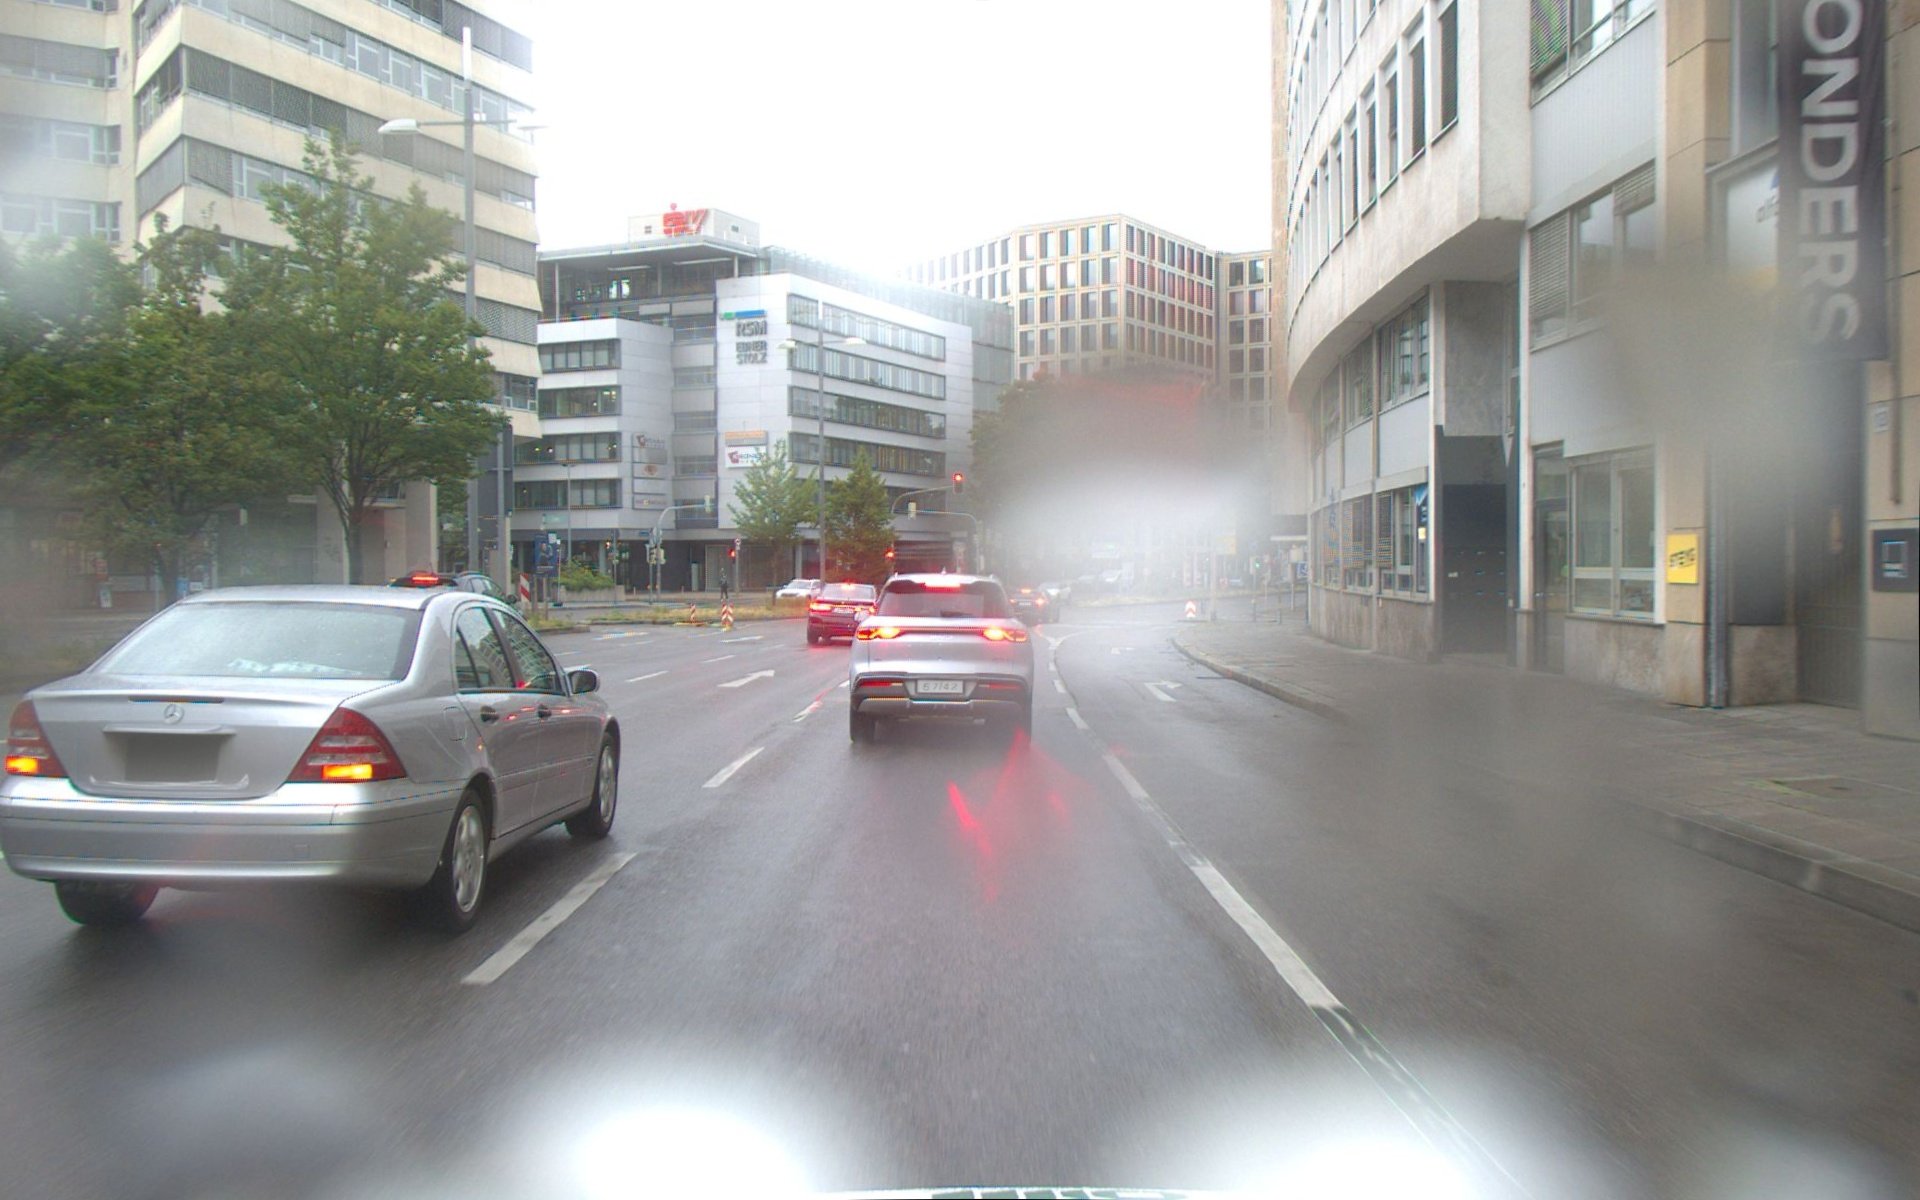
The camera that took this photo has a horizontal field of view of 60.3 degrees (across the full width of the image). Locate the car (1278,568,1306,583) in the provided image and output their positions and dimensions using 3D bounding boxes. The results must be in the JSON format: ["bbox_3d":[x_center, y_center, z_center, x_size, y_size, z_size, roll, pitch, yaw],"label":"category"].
[{"bbox_3d":[39.425,-2.910,196.124,1.957,1.735,4.300,2,3,30],"label":"car"}]

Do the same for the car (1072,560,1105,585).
[{"bbox_3d":[11.640,-2.485,149.871,1.702,2.199,4.493,2,1,21],"label":"car"}]

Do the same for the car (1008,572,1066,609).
[{"bbox_3d":[3.448,-0.426,73.596,1.913,1.556,4.004,1,1,12],"label":"car"}]

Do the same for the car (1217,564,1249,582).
[{"bbox_3d":[29.407,-2.905,177.936,1.957,1.735,4.300,2,3,30],"label":"car"}]

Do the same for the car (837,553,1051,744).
[{"bbox_3d":[-0.138,0.411,17.415,1.952,1.739,4.483,0,1,0],"label":"car"}]

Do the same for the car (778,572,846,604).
[{"bbox_3d":[-8.337,-0.663,93.566,1.703,1.758,4.489,2,1,26],"label":"car"}]

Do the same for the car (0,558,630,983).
[{"bbox_3d":[-2.859,0.579,8.016,1.647,1.512,4.197,0,1,0],"label":"car"}]

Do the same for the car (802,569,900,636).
[{"bbox_3d":[-2.668,0.036,41.302,1.914,1.556,4.002,1,1,4],"label":"car"}]

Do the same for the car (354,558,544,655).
[{"bbox_3d":[-8.856,0.075,29.082,1.953,1.571,4.482,0,1,0],"label":"car"}]

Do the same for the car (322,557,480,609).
[{"bbox_3d":[-16.102,-0.476,47.744,4.036,1.456,1.667,0,1,-36],"label":"car"}]

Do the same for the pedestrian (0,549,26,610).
[{"bbox_3d":[-29.556,-0.644,51.118,0.712,1.864,0.925,1,0,19],"label":"pedestrian"}]

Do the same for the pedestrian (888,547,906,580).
[{"bbox_3d":[-3.316,-1.933,87.499,0.903,1.768,0.729,0,0,-1],"label":"pedestrian"}]
